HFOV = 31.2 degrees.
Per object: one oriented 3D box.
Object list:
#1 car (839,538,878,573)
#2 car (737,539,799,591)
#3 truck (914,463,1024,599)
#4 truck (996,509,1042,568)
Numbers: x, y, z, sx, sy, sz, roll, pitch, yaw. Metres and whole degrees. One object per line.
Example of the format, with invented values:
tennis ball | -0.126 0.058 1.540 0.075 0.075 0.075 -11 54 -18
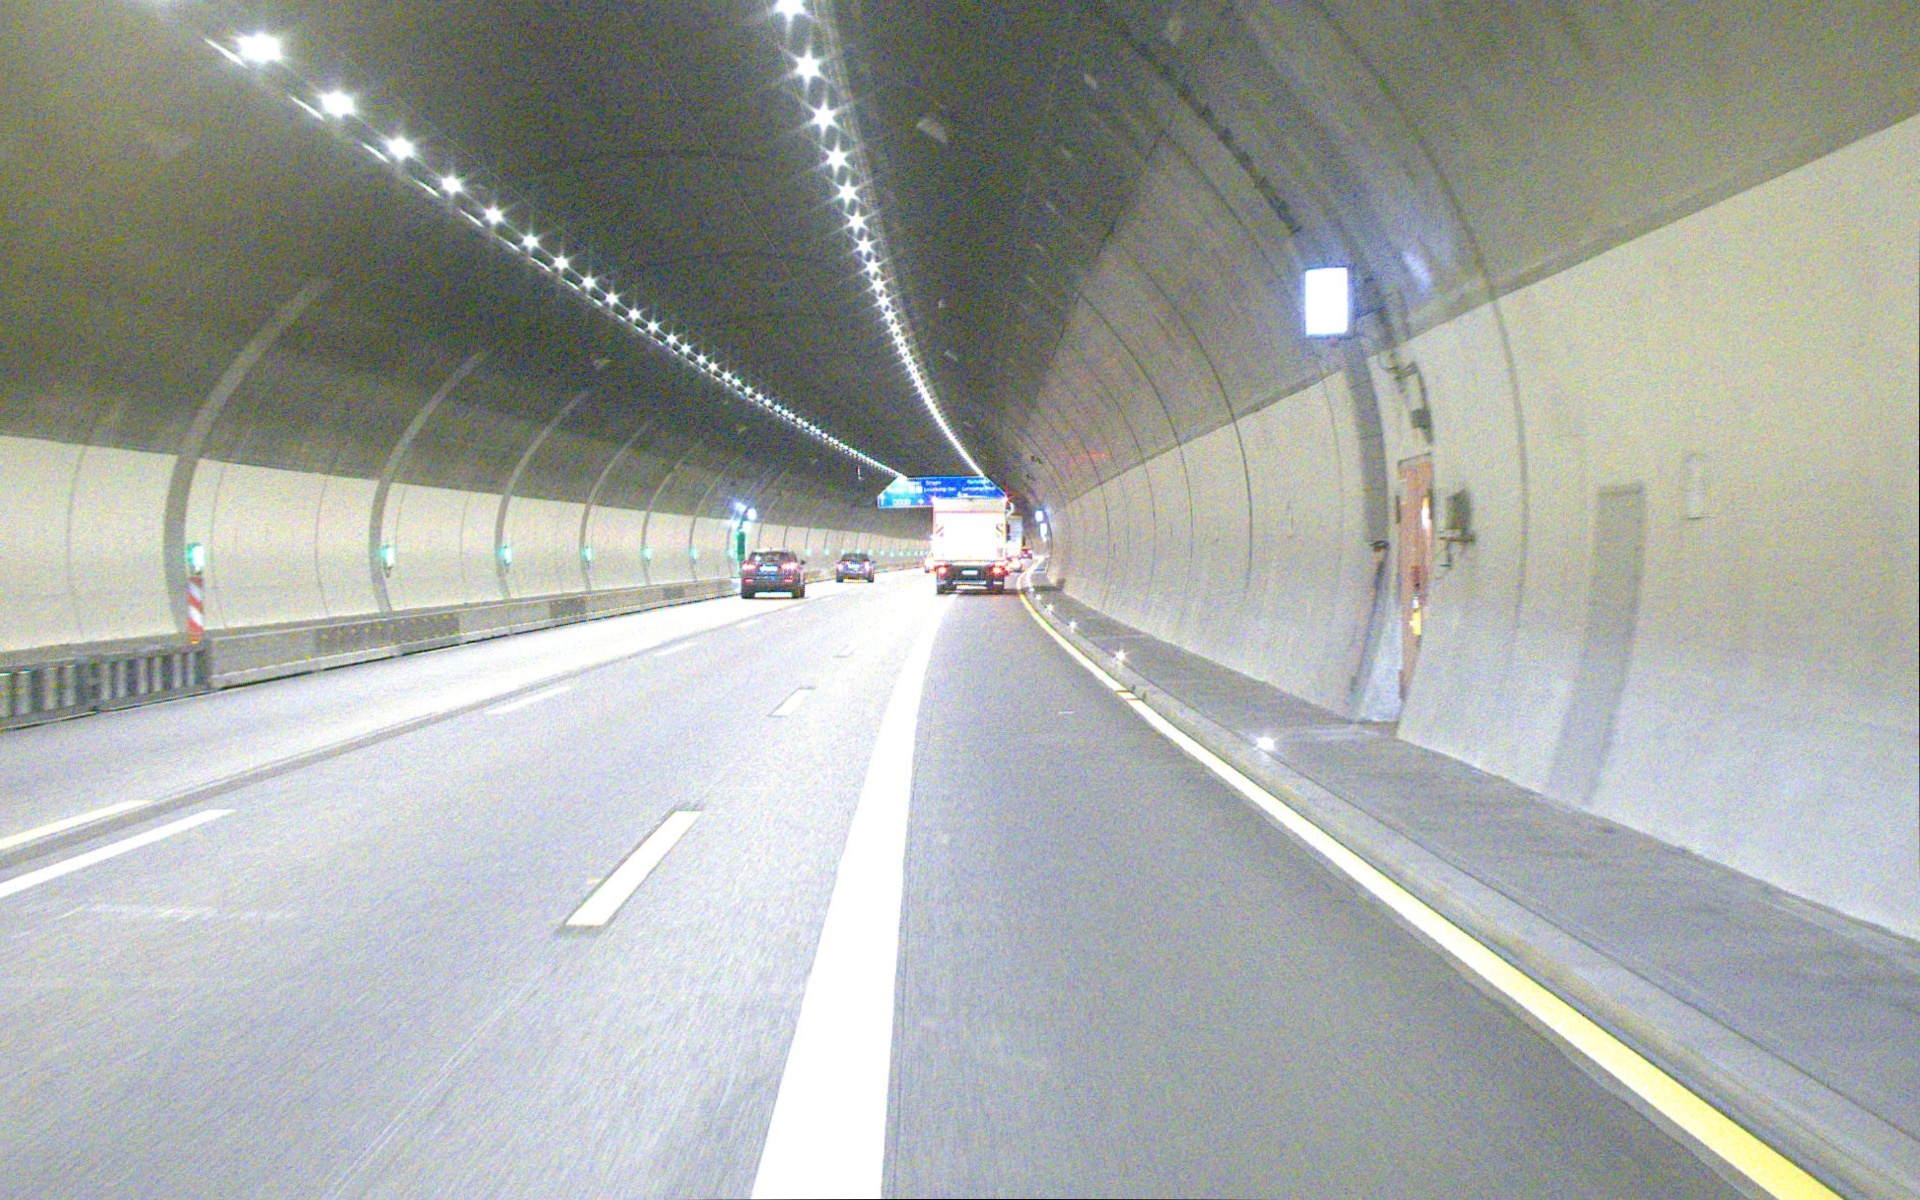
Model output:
car | -4.808 -2.120 163.216 1.812 1.514 4.001 0 2 -2
car | -6.009 -1.115 108.067 1.812 1.612 4.000 0 1 -1
truck | 0.188 -2.526 127.837 3.278 4.634 17.288 -1 1 -2
truck | 4.211 -4.453 248.785 2.922 4.034 14.030 -1 1 0
